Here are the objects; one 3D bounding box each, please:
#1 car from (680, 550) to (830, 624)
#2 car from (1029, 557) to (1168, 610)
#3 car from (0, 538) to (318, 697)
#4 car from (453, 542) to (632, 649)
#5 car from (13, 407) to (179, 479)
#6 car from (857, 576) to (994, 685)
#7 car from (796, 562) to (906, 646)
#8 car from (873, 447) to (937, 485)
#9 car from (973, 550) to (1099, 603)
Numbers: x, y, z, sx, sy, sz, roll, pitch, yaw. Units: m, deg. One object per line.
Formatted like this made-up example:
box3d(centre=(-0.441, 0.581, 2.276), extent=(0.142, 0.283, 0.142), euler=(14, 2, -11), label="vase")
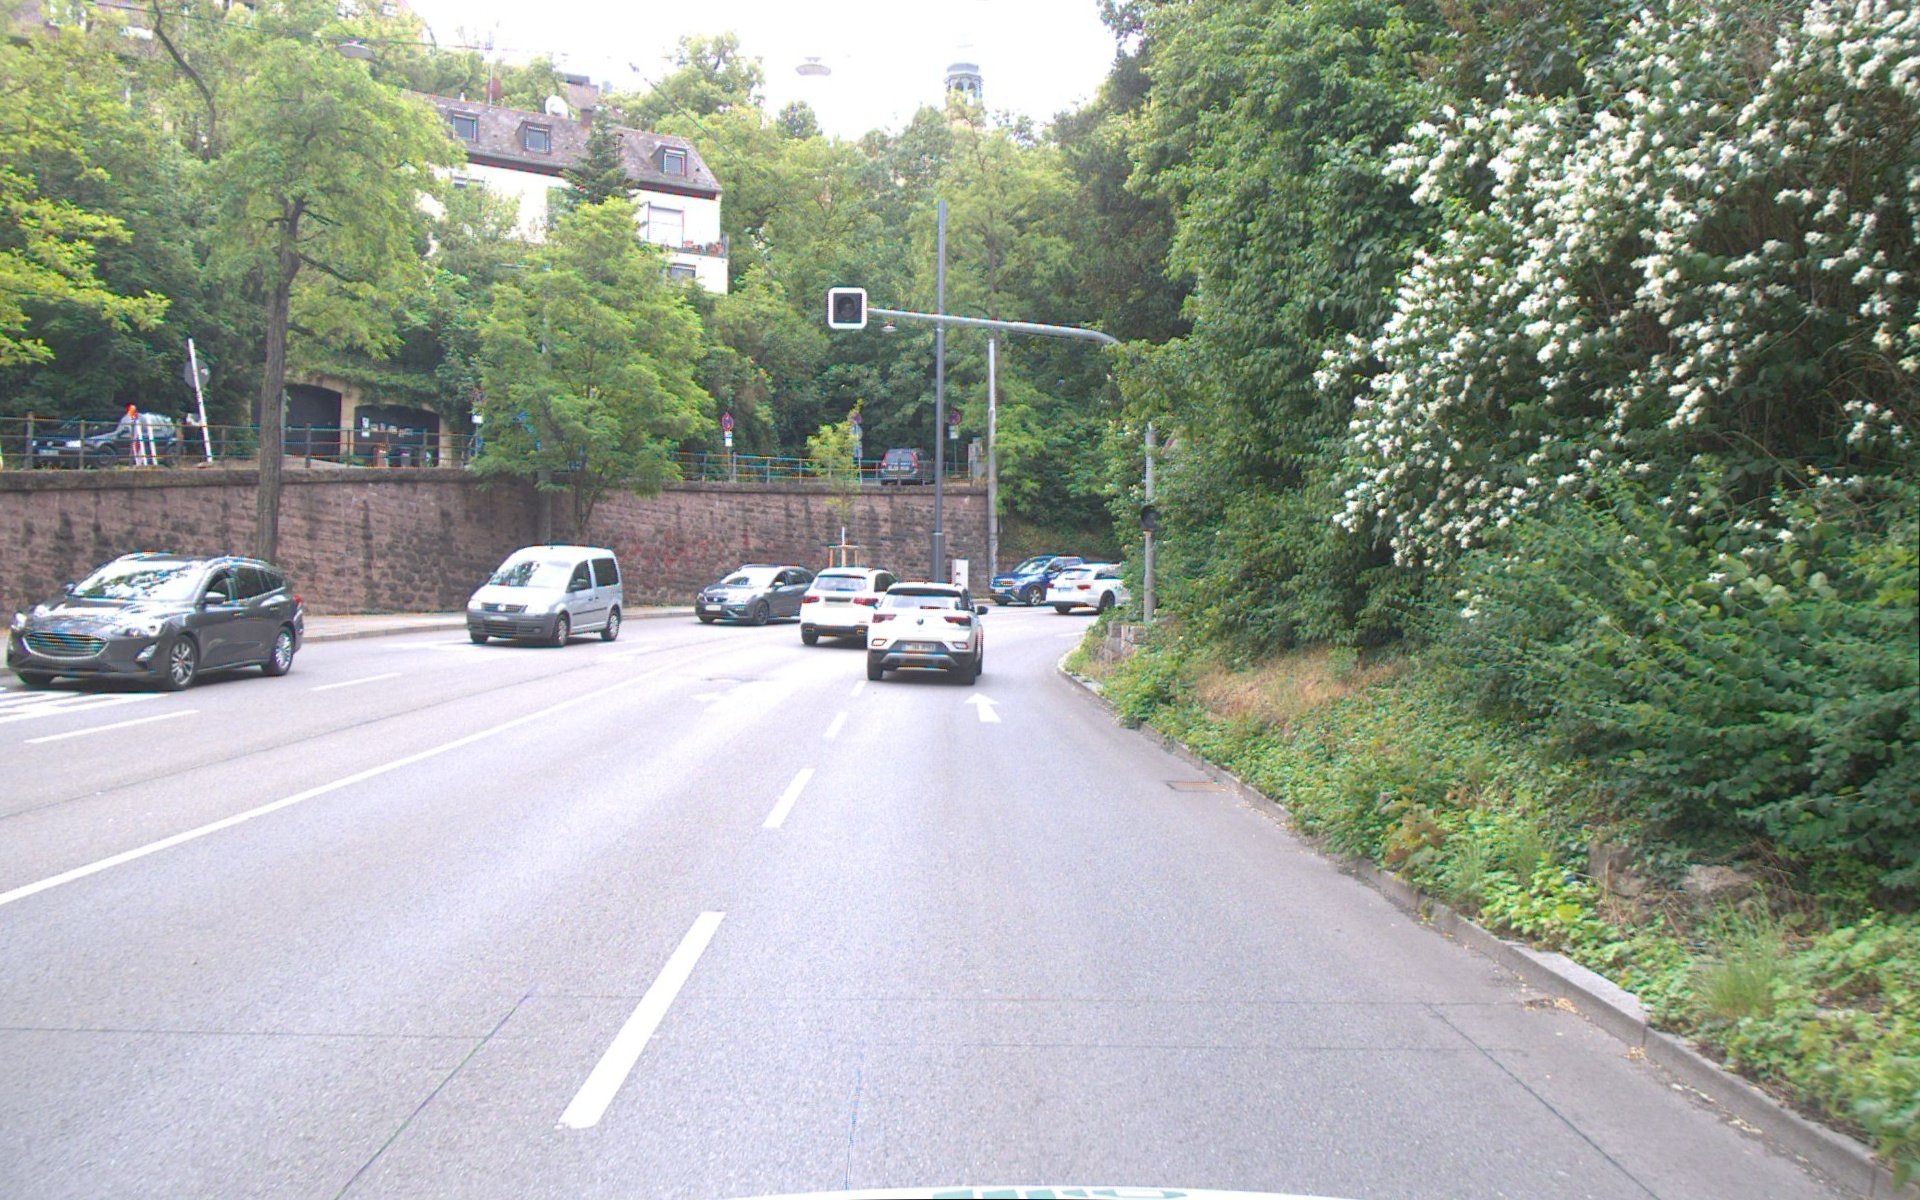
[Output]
box3d(centre=(-5.185, -0.346, 42.474), extent=(1.906, 1.723, 4.285), euler=(3, 2, 23), label="car")
box3d(centre=(4.264, -0.511, 50.572), extent=(2.213, 1.545, 4.285), euler=(0, 0, 40), label="car")
box3d(centre=(-9.556, 0.147, 19.726), extent=(1.952, 1.646, 4.330), euler=(2, 1, 2), label="car")
box3d(centre=(-7.924, -0.139, 31.825), extent=(1.904, 1.829, 4.289), euler=(2, 2, 6), label="car")
box3d(centre=(-19.985, -3.603, 38.410), extent=(1.518, 1.302, 3.602), euler=(-1, 0, 10), label="car")
box3d(centre=(-0.495, 0.460, 27.430), extent=(1.826, 1.583, 3.897), euler=(3, 1, 4), label="car")
box3d(centre=(-2.344, 0.069, 36.593), extent=(1.838, 1.680, 4.343), euler=(2, 0, 4), label="car")
box3d(centre=(-2.262, -5.580, 69.092), extent=(1.951, 1.511, 4.006), euler=(0, 4, 9), label="car")
box3d(centre=(2.572, -0.782, 55.508), extent=(3.963, 1.713, 1.971), euler=(-1, 0, -41), label="car")
